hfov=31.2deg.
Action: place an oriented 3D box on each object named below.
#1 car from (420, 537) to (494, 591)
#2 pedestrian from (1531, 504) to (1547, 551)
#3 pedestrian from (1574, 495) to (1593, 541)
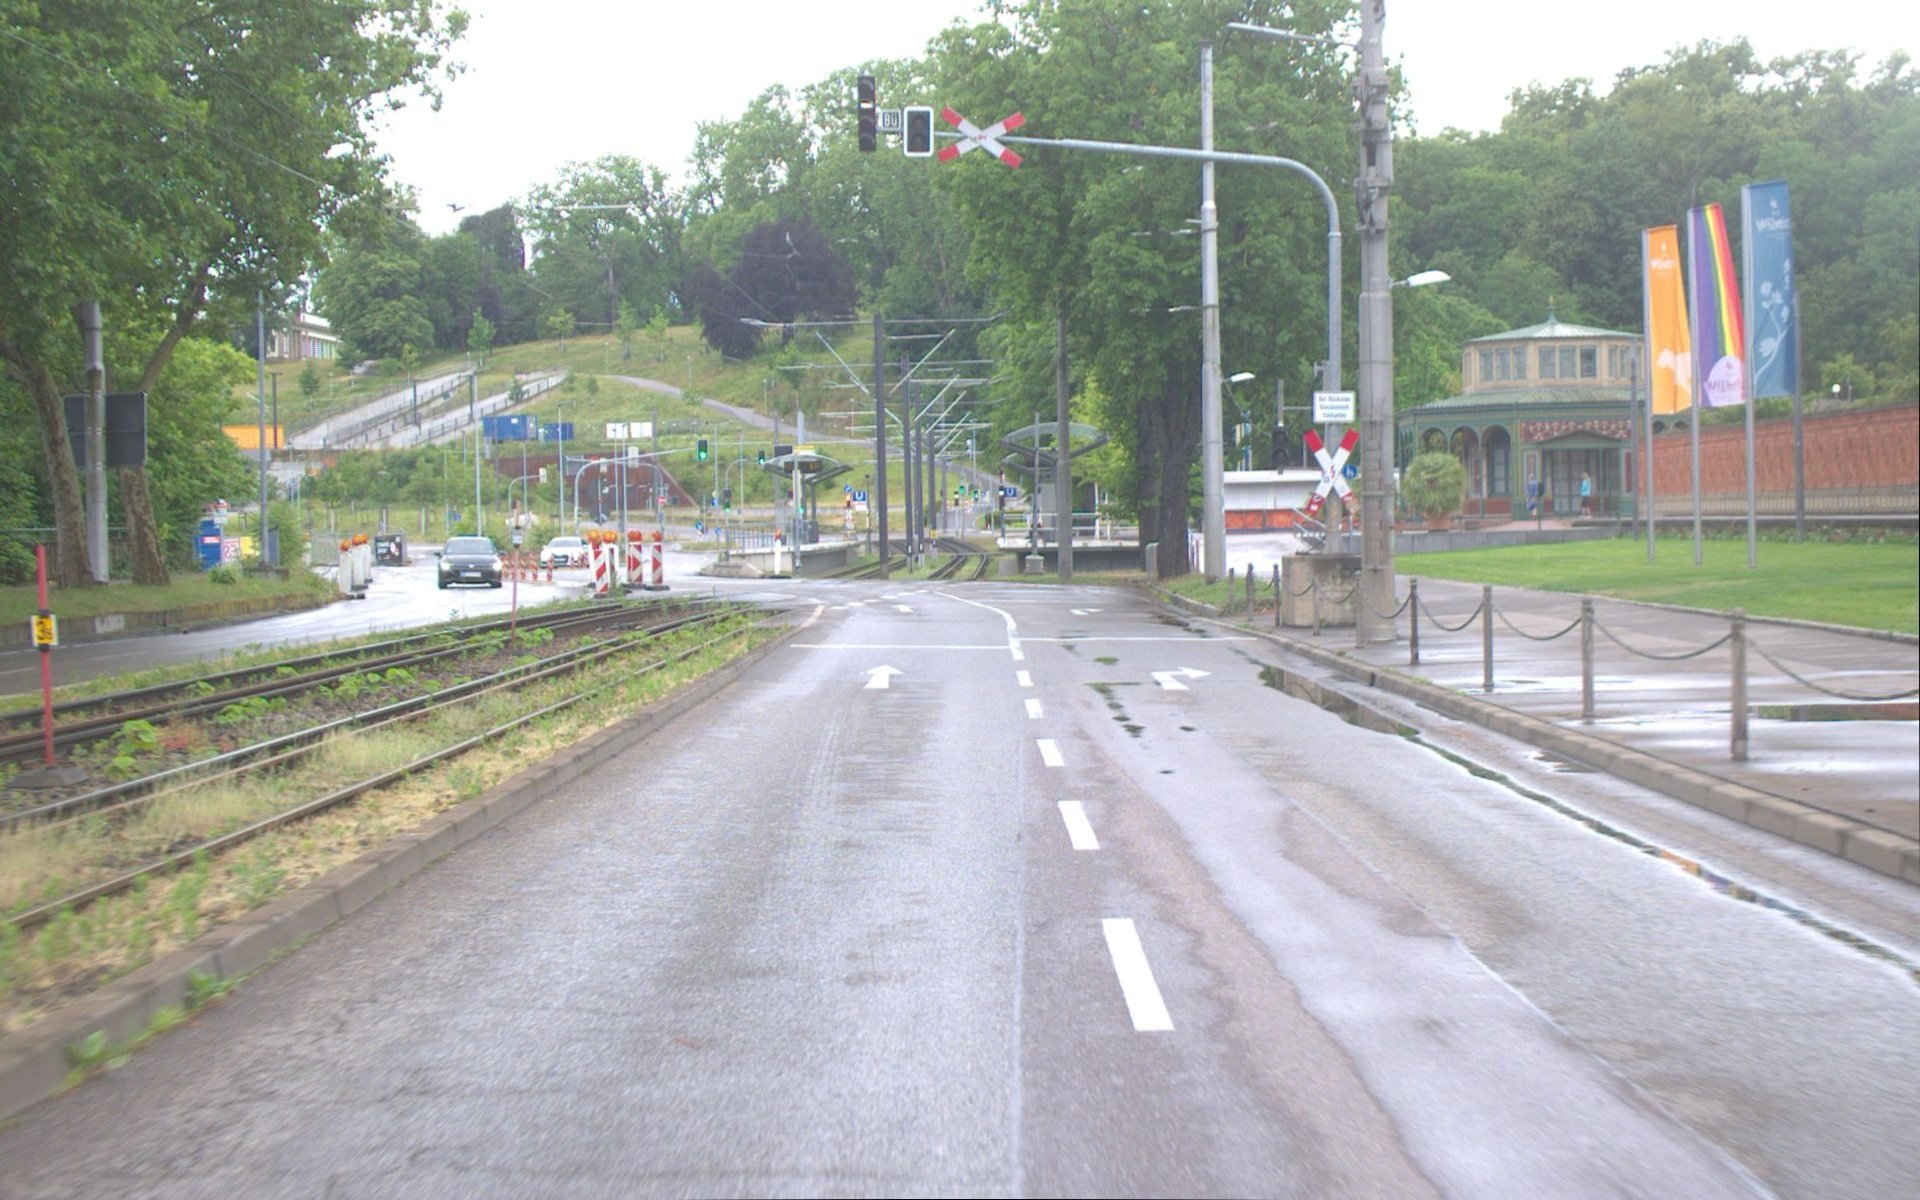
[{"bbox_3d":[-14.443,-1.022,98.558,1.746,1.425,4.561,-2,0,-12],"label":"car"},{"bbox_3d":[21.406,-2.688,127.067,0.531,1.705,0.695,1,-1,12],"label":"pedestrian"},{"bbox_3d":[22.820,-2.996,125.832,0.551,1.651,0.468,-1,-1,35],"label":"pedestrian"}]
